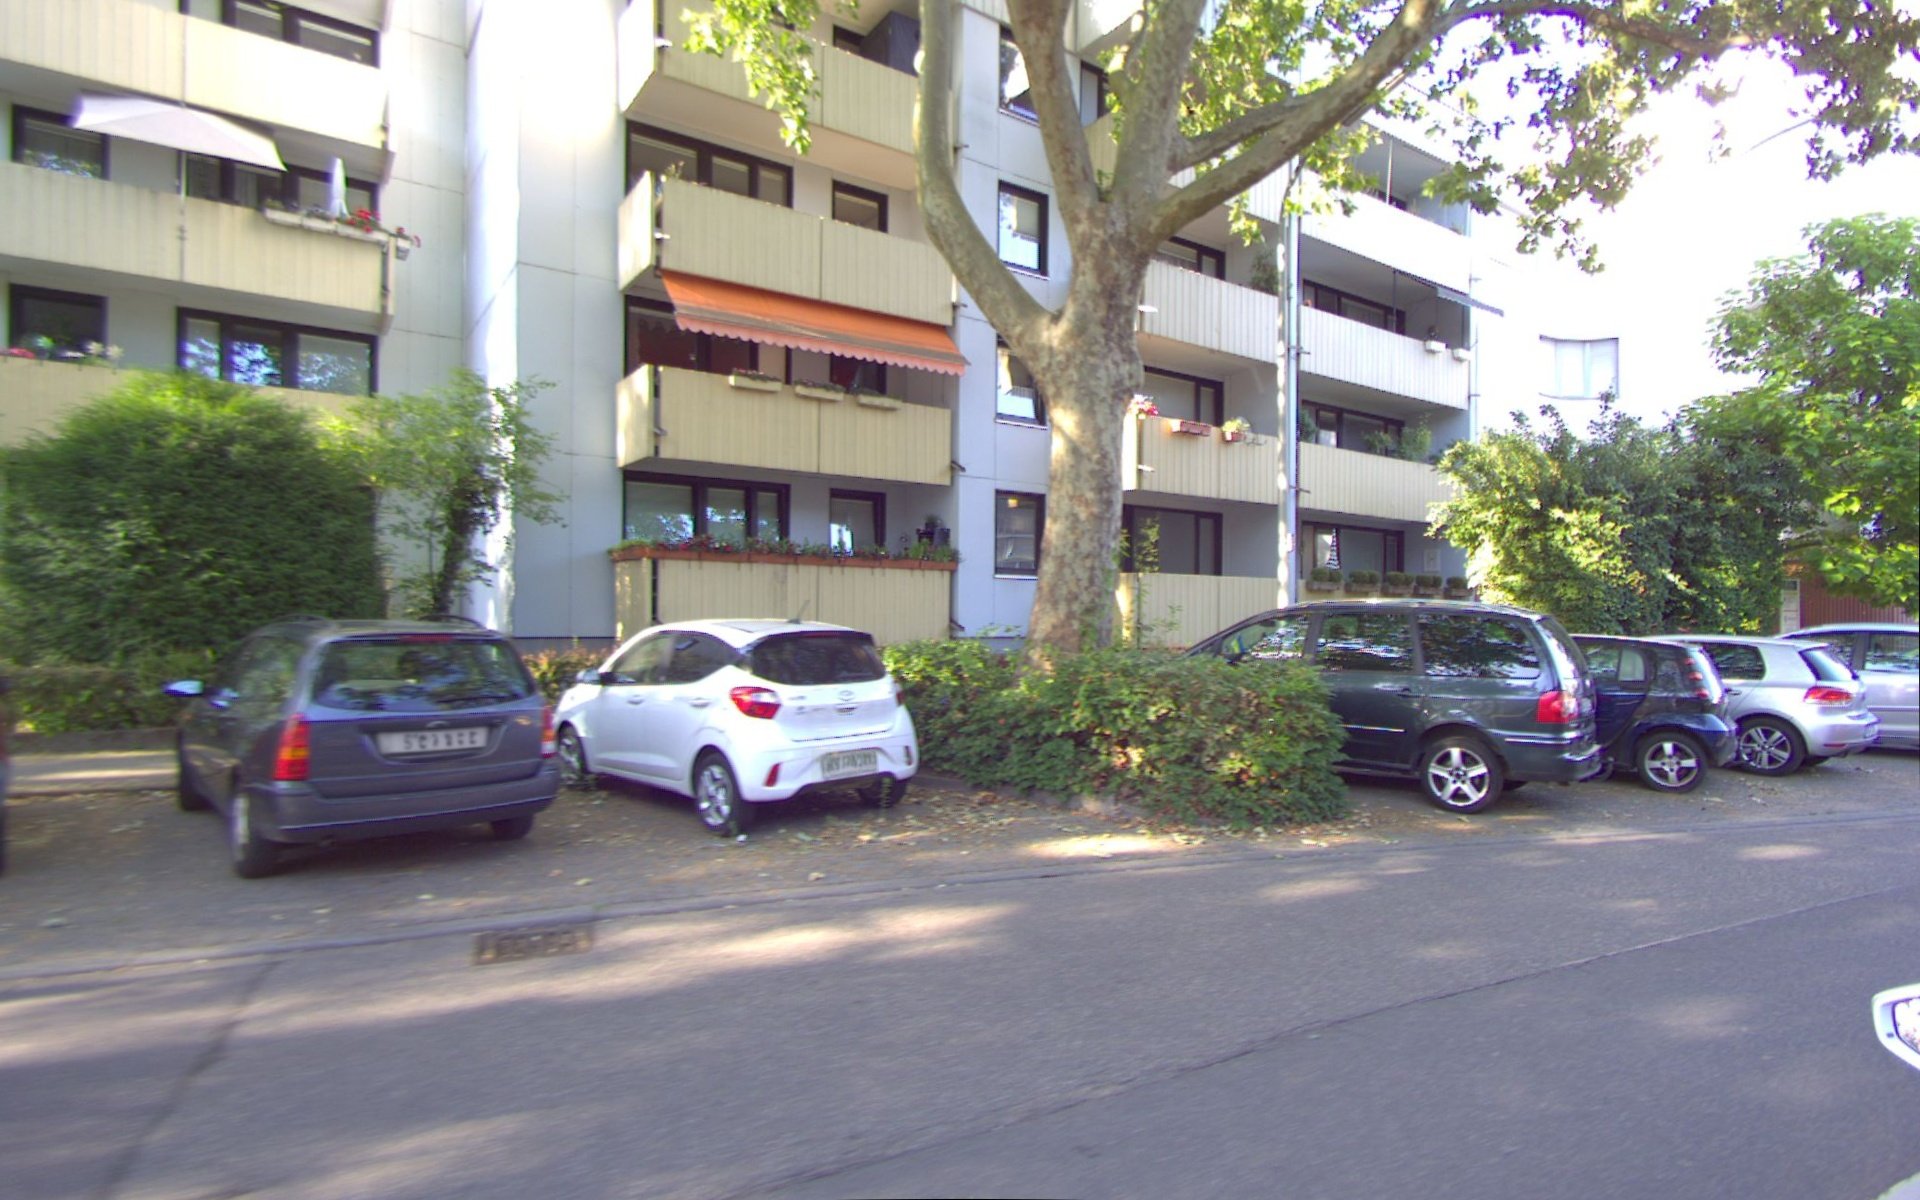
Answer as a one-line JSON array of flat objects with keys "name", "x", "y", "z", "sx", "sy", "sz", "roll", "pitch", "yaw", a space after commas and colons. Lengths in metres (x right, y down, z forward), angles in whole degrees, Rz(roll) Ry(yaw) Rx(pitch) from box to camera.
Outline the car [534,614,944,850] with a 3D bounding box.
[{"name": "car", "x": -2.006, "y": 0.892, "z": 8.488, "sx": 1.765, "sy": 1.514, "sz": 3.613, "roll": 0, "pitch": 0, "yaw": -44}]

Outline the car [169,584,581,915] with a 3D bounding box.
[{"name": "car", "x": -4.218, "y": 0.791, "z": 6.999, "sx": 1.639, "sy": 1.683, "sz": 3.602, "roll": 2, "pitch": -1, "yaw": -44}]

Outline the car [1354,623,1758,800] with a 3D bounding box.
[{"name": "car", "x": 6.402, "y": 1.064, "z": 10.966, "sx": 3.593, "sy": 1.581, "sz": 1.693, "roll": 0, "pitch": -1, "yaw": 38}]

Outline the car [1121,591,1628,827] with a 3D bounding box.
[{"name": "car", "x": 3.882, "y": 0.862, "z": 9.791, "sx": 4.206, "sy": 1.798, "sz": 1.897, "roll": 0, "pitch": -1, "yaw": 41}]

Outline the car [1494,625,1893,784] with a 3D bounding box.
[{"name": "car", "x": 8.713, "y": 1.119, "z": 12.177, "sx": 1.685, "sy": 1.581, "sz": 3.611, "roll": 2, "pitch": -1, "yaw": -38}]

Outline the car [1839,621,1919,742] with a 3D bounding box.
[{"name": "car", "x": 14.918, "y": 1.155, "z": 13.959, "sx": 3.895, "sy": 1.684, "sz": 1.694, "roll": 0, "pitch": -1, "yaw": 36}]

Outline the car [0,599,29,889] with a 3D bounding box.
[{"name": "car", "x": -6.997, "y": 0.780, "z": 6.263, "sx": 1.639, "sy": 1.581, "sz": 3.602, "roll": 2, "pitch": -1, "yaw": -44}]

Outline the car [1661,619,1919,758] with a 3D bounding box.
[{"name": "car", "x": 11.781, "y": 1.111, "z": 13.222, "sx": 4.077, "sy": 1.662, "sz": 1.769, "roll": 0, "pitch": -1, "yaw": 40}]
